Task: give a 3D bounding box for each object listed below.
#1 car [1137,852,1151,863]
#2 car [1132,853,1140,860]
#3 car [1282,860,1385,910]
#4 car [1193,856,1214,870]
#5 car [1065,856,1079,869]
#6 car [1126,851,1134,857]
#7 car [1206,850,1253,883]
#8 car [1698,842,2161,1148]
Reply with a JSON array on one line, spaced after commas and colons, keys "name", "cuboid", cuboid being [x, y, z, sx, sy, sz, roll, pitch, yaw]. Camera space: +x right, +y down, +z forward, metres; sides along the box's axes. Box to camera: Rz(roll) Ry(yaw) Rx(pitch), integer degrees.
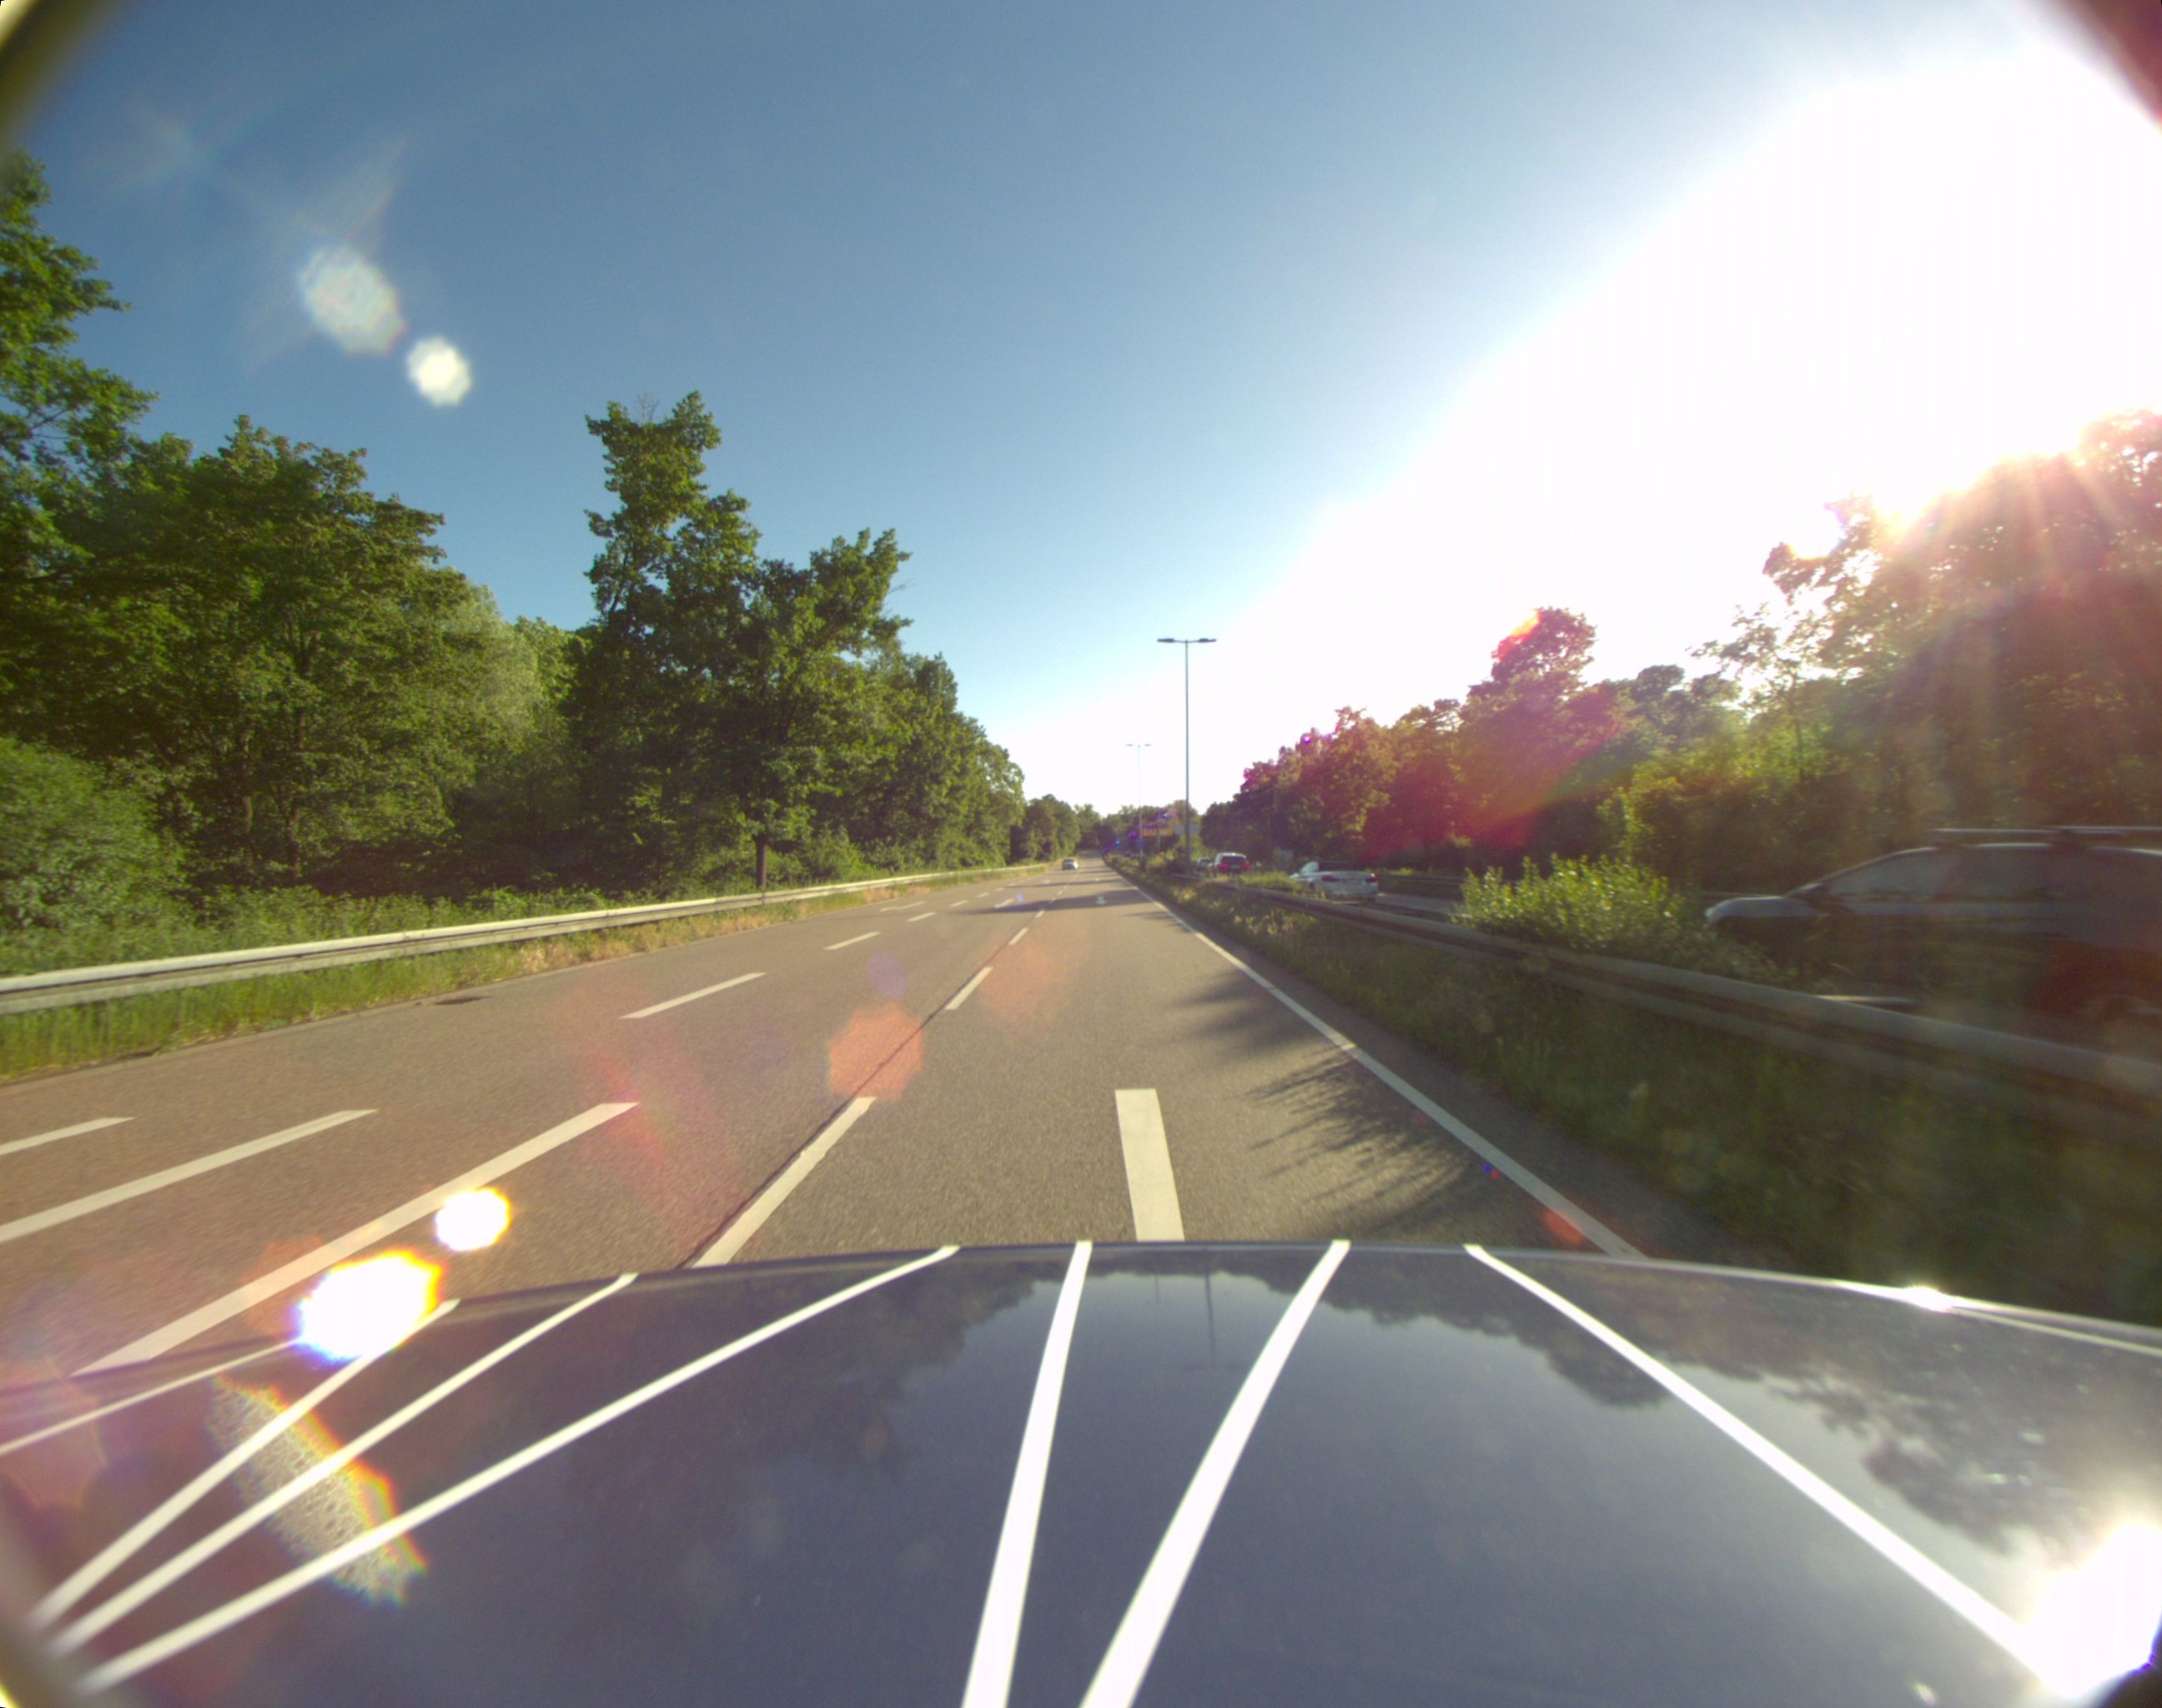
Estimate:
[{"name": "car", "cuboid": [10.052, 0.517, 121.281, 1.846, 1.747, 4.712, 0, 0, 1]}, {"name": "car", "cuboid": [11.270, 0.491, 155.621, 1.622, 1.521, 4.609, 0, 0, 3]}, {"name": "car", "cuboid": [7.748, 0.912, 23.770, 1.777, 1.349, 4.462, -1, 0, 1]}, {"name": "car", "cuboid": [12.913, 0.914, 80.226, 1.755, 1.441, 3.714, 1, 0, 2]}, {"name": "car", "cuboid": [-1.096, 1.018, 92.656, 1.682, 1.477, 3.390, 0, -1, 0]}, {"name": "car", "cuboid": [12.549, -0.065, 194.929, 1.785, 1.395, 4.553, 0, 0, 3]}, {"name": "car", "cuboid": [8.208, 0.656, 42.372, 1.790, 1.700, 4.547, 0, 0, 1]}, {"name": "car", "cuboid": [7.164, 0.802, 5.546, 1.838, 1.761, 4.338, -1, 0, 1]}]
